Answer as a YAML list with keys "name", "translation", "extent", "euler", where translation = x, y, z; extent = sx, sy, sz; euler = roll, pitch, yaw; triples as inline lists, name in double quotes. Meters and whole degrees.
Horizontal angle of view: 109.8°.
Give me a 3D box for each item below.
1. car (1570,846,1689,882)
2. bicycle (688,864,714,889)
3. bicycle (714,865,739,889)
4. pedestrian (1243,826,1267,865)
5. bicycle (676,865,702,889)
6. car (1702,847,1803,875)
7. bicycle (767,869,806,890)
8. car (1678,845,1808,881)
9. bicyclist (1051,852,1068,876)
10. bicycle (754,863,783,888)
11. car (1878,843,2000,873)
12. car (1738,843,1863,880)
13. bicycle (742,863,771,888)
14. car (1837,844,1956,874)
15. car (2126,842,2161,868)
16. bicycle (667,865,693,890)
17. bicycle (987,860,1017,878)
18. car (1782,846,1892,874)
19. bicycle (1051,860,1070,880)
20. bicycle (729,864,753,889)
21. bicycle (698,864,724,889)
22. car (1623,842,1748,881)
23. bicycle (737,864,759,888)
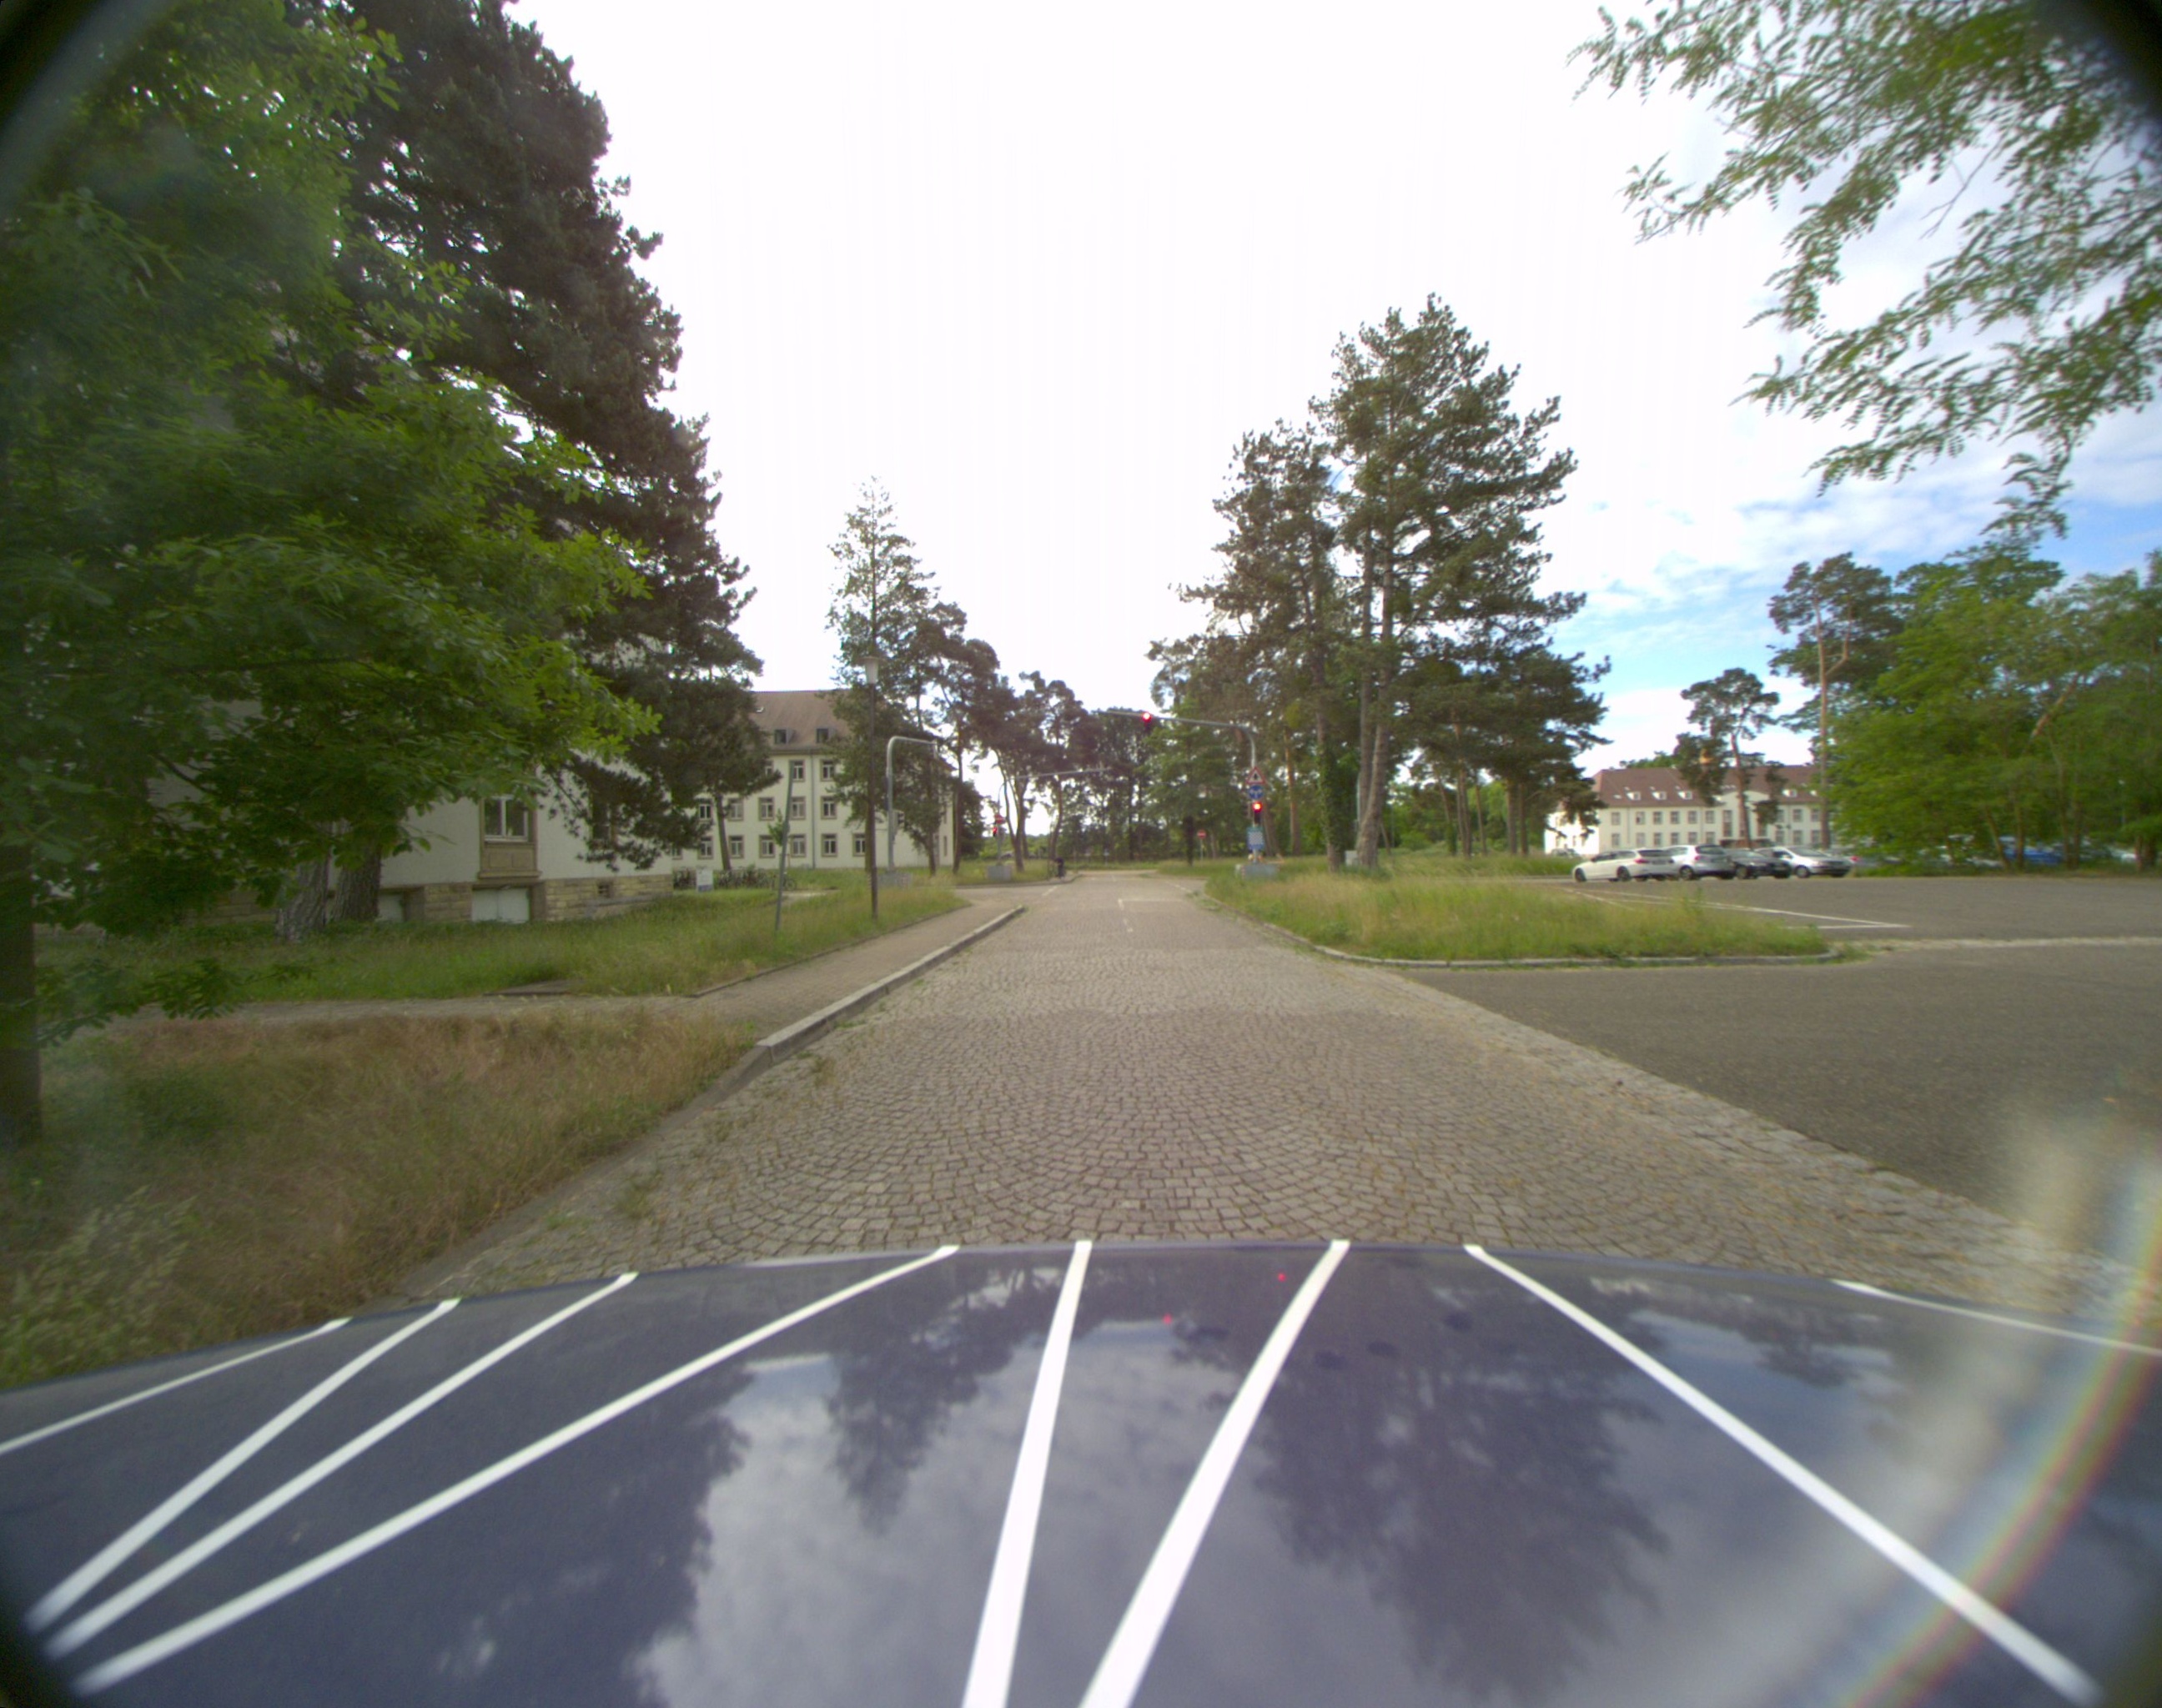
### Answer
- name: "car"
  translation: [23.996, 0.495, 33.482]
  extent: [1.840, 1.441, 4.656]
  euler: [-1, -2, -1]
- name: "bicycle"
  translation: [-21.276, 1.251, 42.556]
  extent: [0.572, 1.324, 1.837]
  euler: [-1, 0, -3]
- name: "bicycle"
  translation: [-19.854, 1.270, 42.599]
  extent: [0.572, 1.324, 1.837]
  euler: [-1, 0, -3]
- name: "pedestrian"
  translation: [6.910, -0.322, 30.149]
  extent: [0.882, 1.509, 0.822]
  euler: [-1, 0, 16]
- name: "bicycle"
  translation: [-21.996, 1.282, 42.627]
  extent: [0.572, 1.324, 1.837]
  euler: [-1, 0, -3]
- name: "car"
  translation: [39.120, 0.450, 44.438]
  extent: [1.840, 1.549, 4.585]
  euler: [-1, -2, -1]
- name: "bicycle"
  translation: [-15.878, 1.372, 40.976]
  extent: [1.836, 1.079, 0.573]
  euler: [-1, 2, 5]
- name: "car"
  translation: [29.264, 0.447, 33.807]
  extent: [1.839, 1.460, 4.586]
  euler: [-1, -2, 2]
- name: "bicyclist"
  translation: [-1.436, 0.663, 50.615]
  extent: [0.963, 1.625, 0.918]
  euler: [-1, 0, 7]
- name: "bicycle"
  translation: [-17.529, 1.194, 42.690]
  extent: [0.572, 1.324, 1.839]
  euler: [-1, 0, 10]
- name: "car"
  translation: [49.833, 0.272, 44.301]
  extent: [1.840, 1.564, 4.585]
  euler: [-1, -2, -1]
- name: "car"
  translation: [32.018, 0.366, 33.999]
  extent: [1.736, 1.512, 4.115]
  euler: [-1, -2, 2]
- name: "bicycle"
  translation: [-18.159, 1.204, 42.592]
  extent: [0.572, 1.324, 1.839]
  euler: [-1, 0, 10]
- name: "car"
  translation: [46.801, 0.322, 43.779]
  extent: [1.840, 1.549, 4.585]
  euler: [-1, -2, -1]
- name: "car"
  translation: [64.093, 0.010, 43.596]
  extent: [1.840, 1.512, 4.585]
  euler: [-1, -2, -1]
- name: "bicycle"
  translation: [-22.599, 1.307, 42.846]
  extent: [0.572, 1.324, 1.837]
  euler: [-1, 0, -3]
- name: "bicycle"
  translation: [-5.040, 0.970, 48.474]
  extent: [1.836, 1.079, 0.572]
  euler: [-1, 2, 0]
- name: "car"
  translation: [44.075, 0.384, 44.458]
  extent: [1.840, 1.512, 4.585]
  euler: [-1, -2, -1]
- name: "bicycle"
  translation: [-1.375, 1.045, 50.656]
  extent: [0.963, 1.268, 2.165]
  euler: [-1, 0, 7]
- name: "bicycle"
  translation: [-19.088, 1.244, 42.641]
  extent: [0.572, 1.324, 1.837]
  euler: [-1, 0, -3]
- name: "bicycle"
  translation: [-20.711, 1.227, 42.567]
  extent: [0.572, 1.324, 1.837]
  euler: [-1, 0, -3]
- name: "car"
  translation: [26.608, 0.388, 33.669]
  extent: [1.840, 1.568, 4.585]
  euler: [-1, -2, -1]
- name: "bicycle"
  translation: [-18.656, 1.225, 42.617]
  extent: [0.482, 1.324, 1.837]
  euler: [-1, 0, -3]
